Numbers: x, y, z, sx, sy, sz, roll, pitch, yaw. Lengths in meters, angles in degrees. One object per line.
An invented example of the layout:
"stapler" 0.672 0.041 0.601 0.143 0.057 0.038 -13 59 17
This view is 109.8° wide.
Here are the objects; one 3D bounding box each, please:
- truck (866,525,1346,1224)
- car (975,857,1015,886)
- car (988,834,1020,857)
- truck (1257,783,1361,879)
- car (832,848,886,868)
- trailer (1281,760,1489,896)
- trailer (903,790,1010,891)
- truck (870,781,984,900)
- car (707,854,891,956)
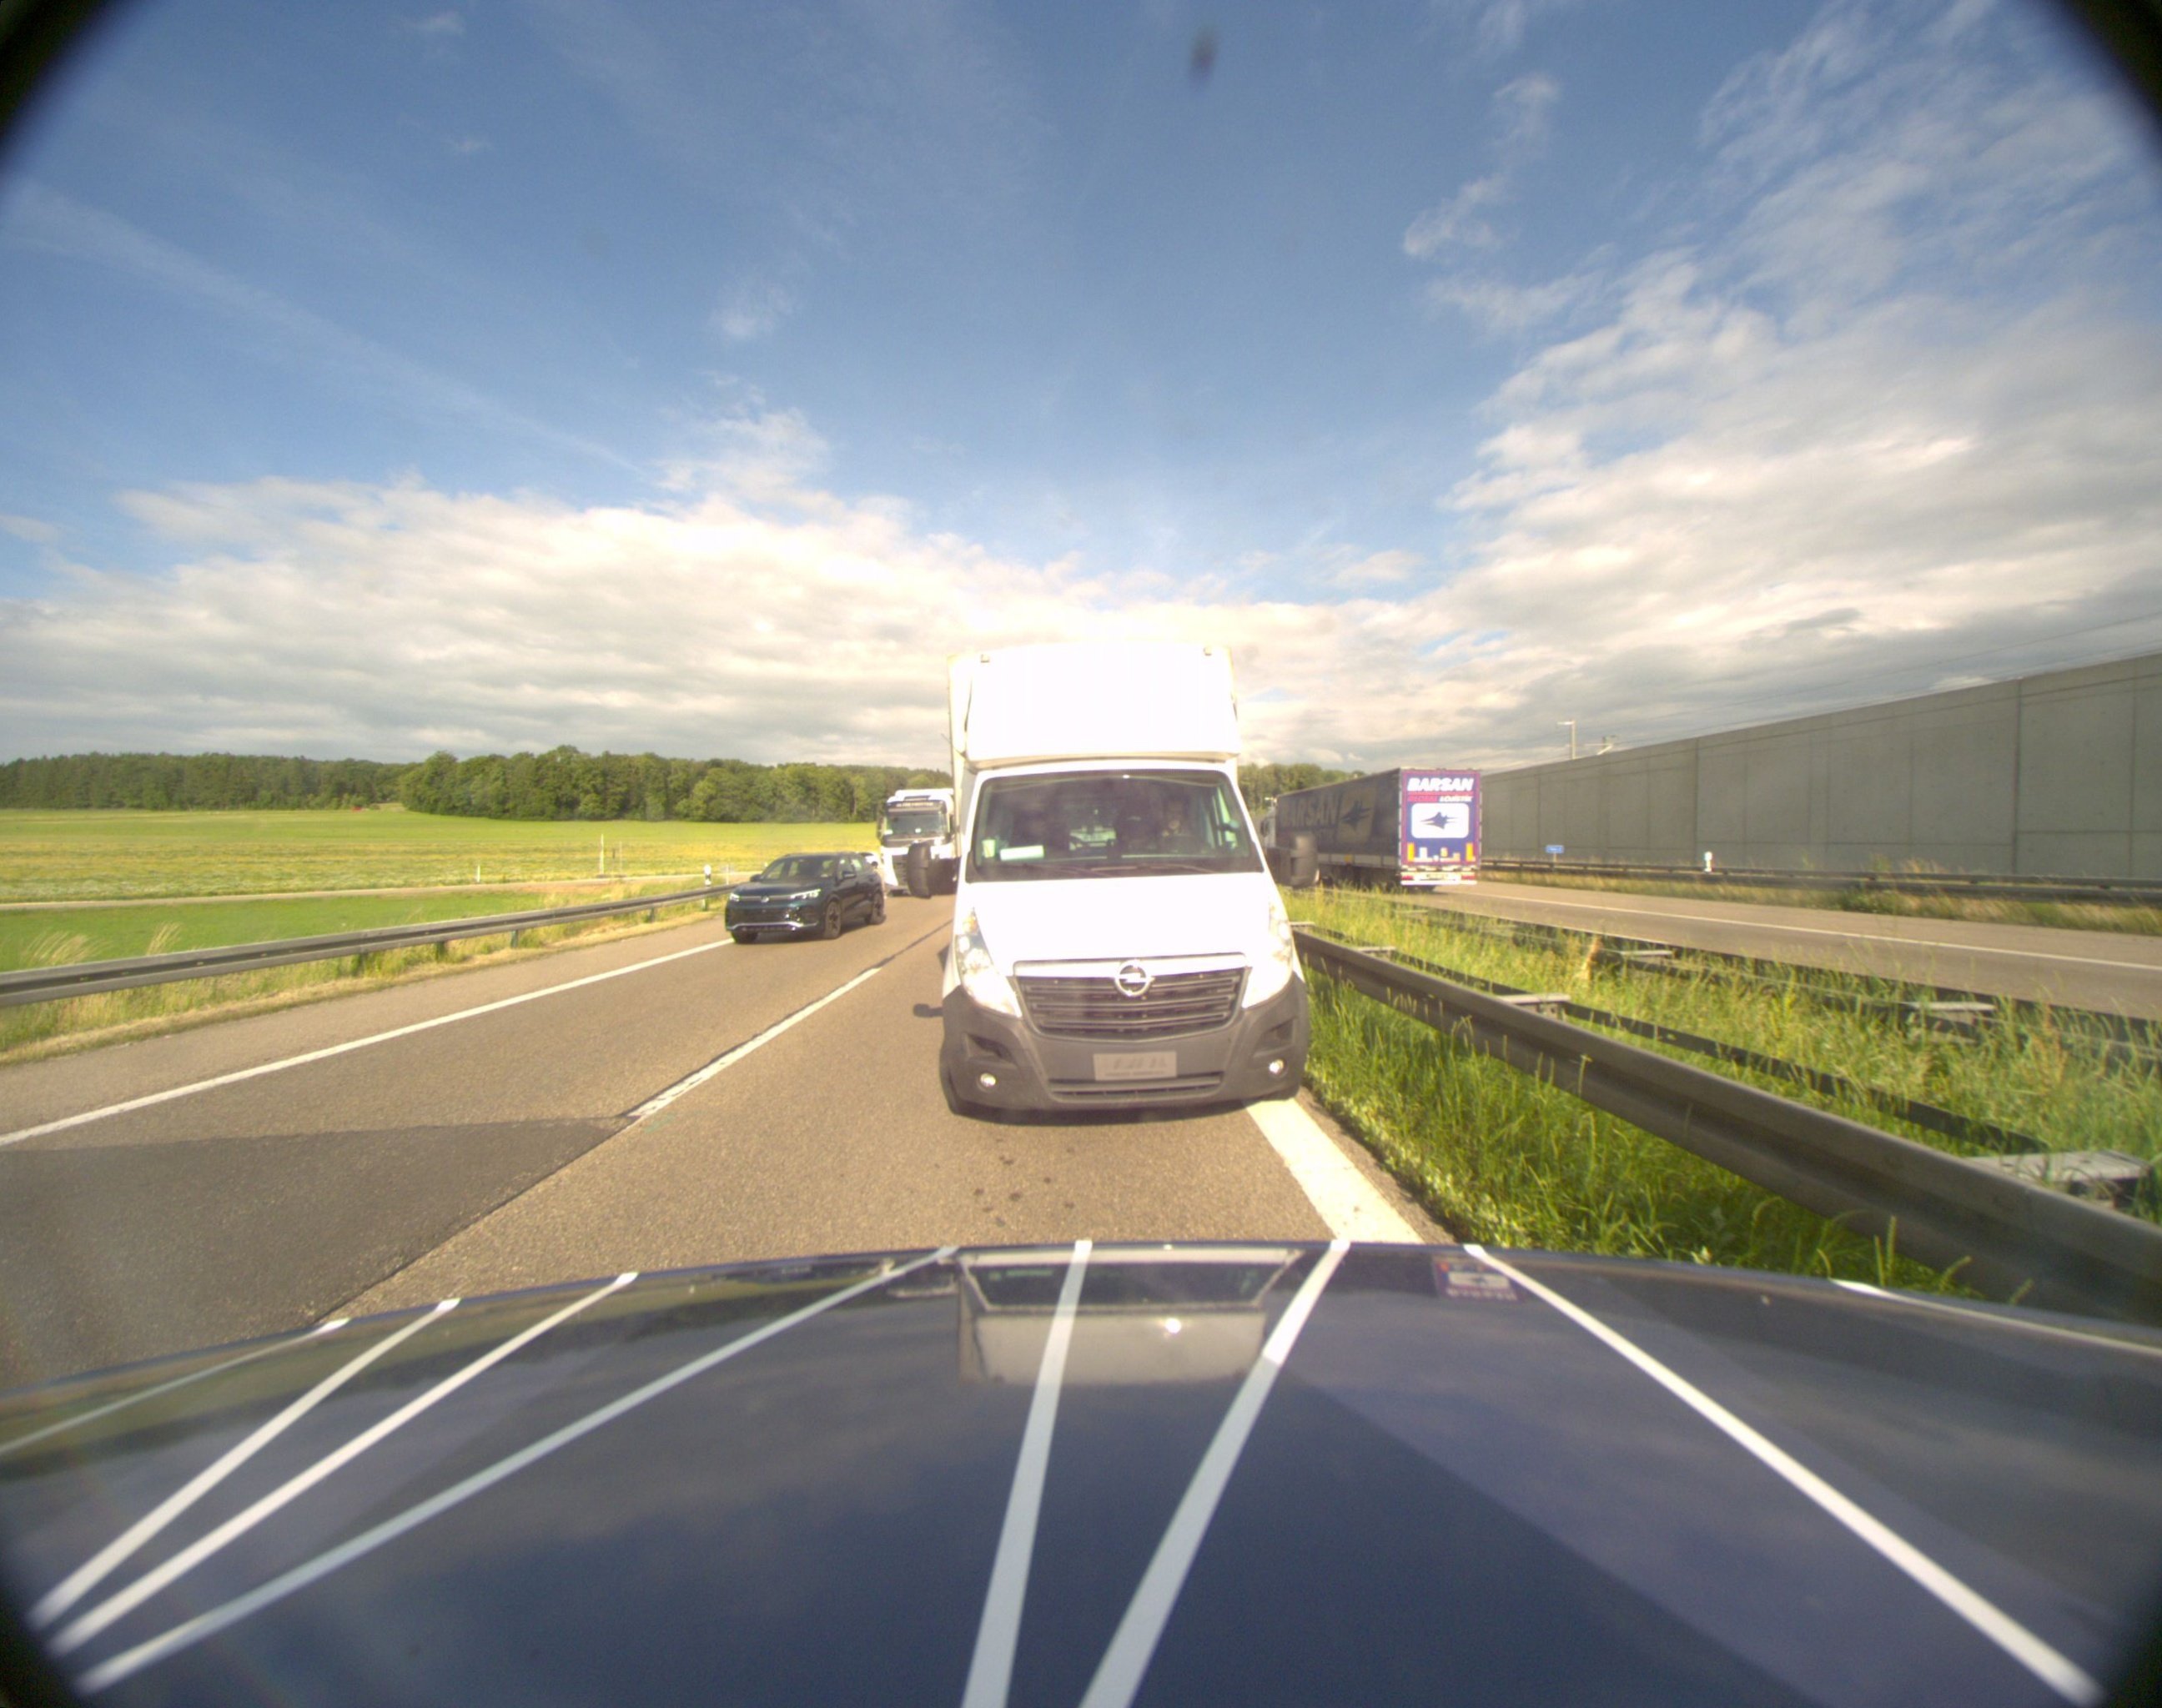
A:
"truck" 0.182 0.046 7.333 2.059 3.088 7.802 -2 1 1
"car" -5.397 1.062 47.986 1.998 1.647 3.999 -2 1 0
"car" -5.904 -0.678 58.730 1.998 1.647 3.999 -2 1 0
"truck" 10.759 -1.056 36.589 2.645 4.074 7.000 -2 1 -1
"car" -19.706 0.349 67.510 4.007 1.609 1.994 -3 2 -42
"trailer" 10.916 -0.890 29.365 2.661 4.057 12.392 -2 1 -2
"trailer" -5.593 -0.644 36.749 2.826 3.959 12.126 -2 1 1
"truck" -5.705 -0.512 29.389 2.842 3.967 6.500 -2 1 1
"car" -5.336 0.877 15.048 1.998 1.587 4.118 -2 1 1
